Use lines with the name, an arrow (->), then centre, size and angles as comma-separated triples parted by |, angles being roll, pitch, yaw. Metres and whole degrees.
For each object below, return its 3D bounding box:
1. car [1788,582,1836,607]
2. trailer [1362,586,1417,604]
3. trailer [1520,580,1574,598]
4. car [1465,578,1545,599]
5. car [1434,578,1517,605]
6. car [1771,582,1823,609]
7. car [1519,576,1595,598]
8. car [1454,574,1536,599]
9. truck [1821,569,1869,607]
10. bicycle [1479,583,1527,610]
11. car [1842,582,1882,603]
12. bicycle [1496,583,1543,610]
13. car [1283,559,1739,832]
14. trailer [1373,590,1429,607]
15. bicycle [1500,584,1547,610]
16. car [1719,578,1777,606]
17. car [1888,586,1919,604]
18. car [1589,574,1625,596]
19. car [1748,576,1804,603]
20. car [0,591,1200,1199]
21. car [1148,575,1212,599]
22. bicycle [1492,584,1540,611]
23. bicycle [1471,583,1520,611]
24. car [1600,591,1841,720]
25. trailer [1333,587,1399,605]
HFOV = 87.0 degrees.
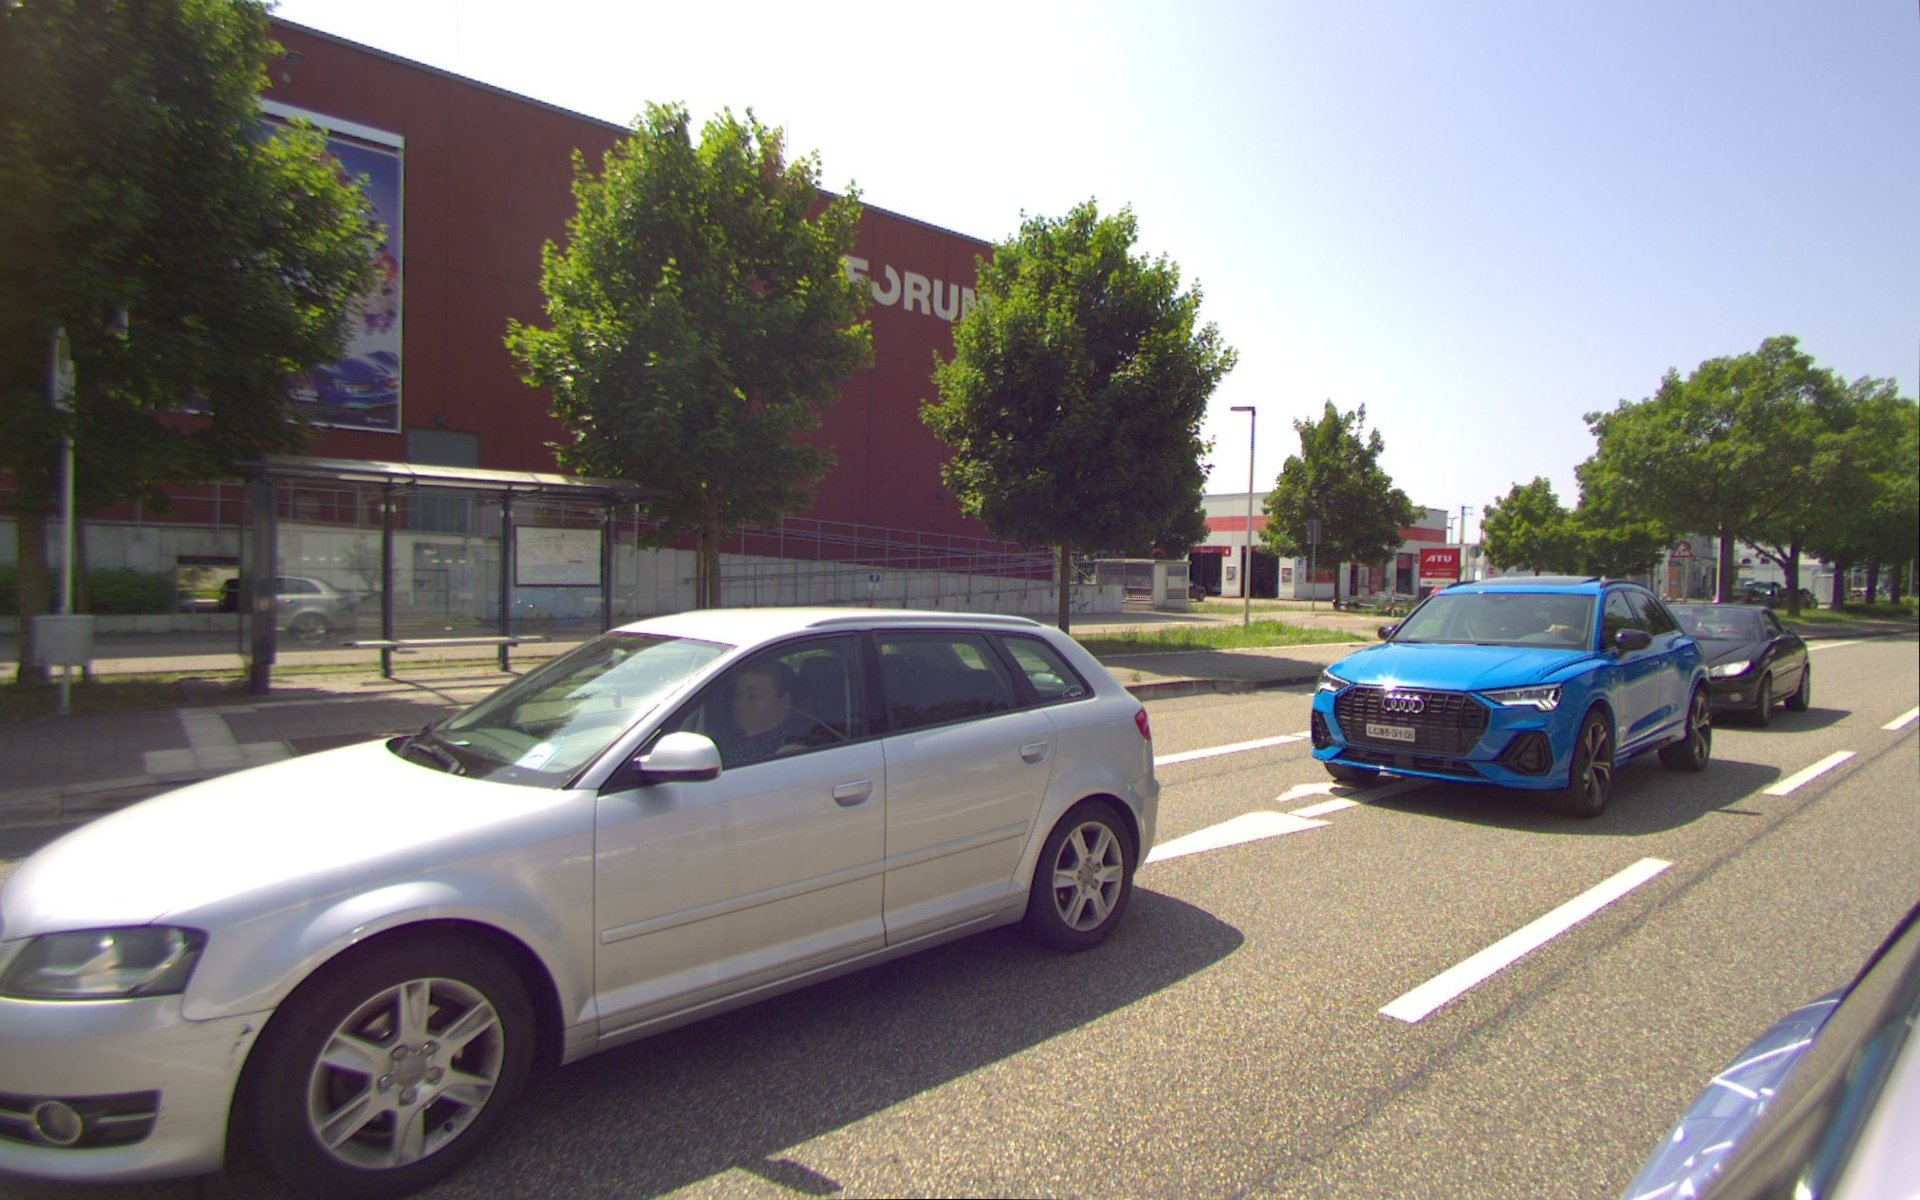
car -> 54.638, -0.351, 64.876 | 3.929, 1.532, 1.719 | 0, 2, -40
trailer -> 20.850, -0.248, 49.183 | 1.244, 0.771, 2.137 | 0, 2, -39
trailer -> 37.592, -0.695, 64.863 | 1.551, 1.065, 2.639 | 0, 2, -43
car -> 33.588, -0.727, 62.451 | 1.718, 1.223, 3.992 | 0, 2, -43
car -> 30.241, -0.503, 59.409 | 1.718, 1.419, 3.993 | 0, 2, -43
car -> 50.214, -0.275, 60.710 | 3.929, 1.539, 1.719 | 0, 2, -40
car -> 39.361, -0.879, 66.802 | 1.661, 1.317, 3.992 | 0, 2, -43
car -> 32.046, -0.818, 60.669 | 1.718, 1.419, 3.992 | 0, 2, -43
truck -> 63.341, -0.874, 72.437 | 3.928, 2.598, 1.904 | 0, 2, -39
bicycle -> 23.890, -0.149, 44.524 | 1.779, 1.138, 0.506 | 3, 2, 44
car -> 67.798, -0.545, 76.037 | 3.929, 1.485, 1.719 | 0, 2, -40
bicycle -> 25.030, -0.165, 45.285 | 1.779, 1.138, 0.506 | 3, 2, 44
car -> 4.588, 0.530, 8.129 | 4.323, 1.615, 1.841 | 0, 1, -41
trailer -> 21.866, -0.078, 50.181 | 1.368, 0.771, 2.137 | 0, 2, -39
bicycle -> 25.503, -0.152, 45.819 | 1.779, 1.138, 0.506 | 3, 2, 44
car -> 41.669, -0.415, 53.473 | 3.929, 1.388, 1.641 | 0, 2, -40
car -> 83.218, -0.439, 89.133 | 3.929, 1.485, 1.719 | 0, 2, -40
car -> 51.460, -1.196, 80.472 | 1.754, 1.615, 3.939 | 2, 2, 42
car -> 46.337, -0.603, 57.431 | 3.929, 1.485, 1.719 | 0, 2, -40
car -> -0.978, 0.669, 3.861 | 4.021, 1.379, 1.714 | -1, 0, -42
car -> 13.370, -0.806, 61.460 | 4.073, 1.389, 1.716 | 0, 2, -41
bicycle -> 24.616, -0.120, 44.799 | 1.779, 1.138, 0.506 | 3, 2, 44
bicycle -> 23.372, -0.132, 44.185 | 1.779, 1.138, 0.506 | 3, 2, 44
car -> 9.534, 0.578, 12.586 | 3.931, 1.361, 1.640 | 0, 0, -41
trailer -> 19.041, -0.194, 47.507 | 1.423, 0.771, 2.467 | 0, 2, -39
